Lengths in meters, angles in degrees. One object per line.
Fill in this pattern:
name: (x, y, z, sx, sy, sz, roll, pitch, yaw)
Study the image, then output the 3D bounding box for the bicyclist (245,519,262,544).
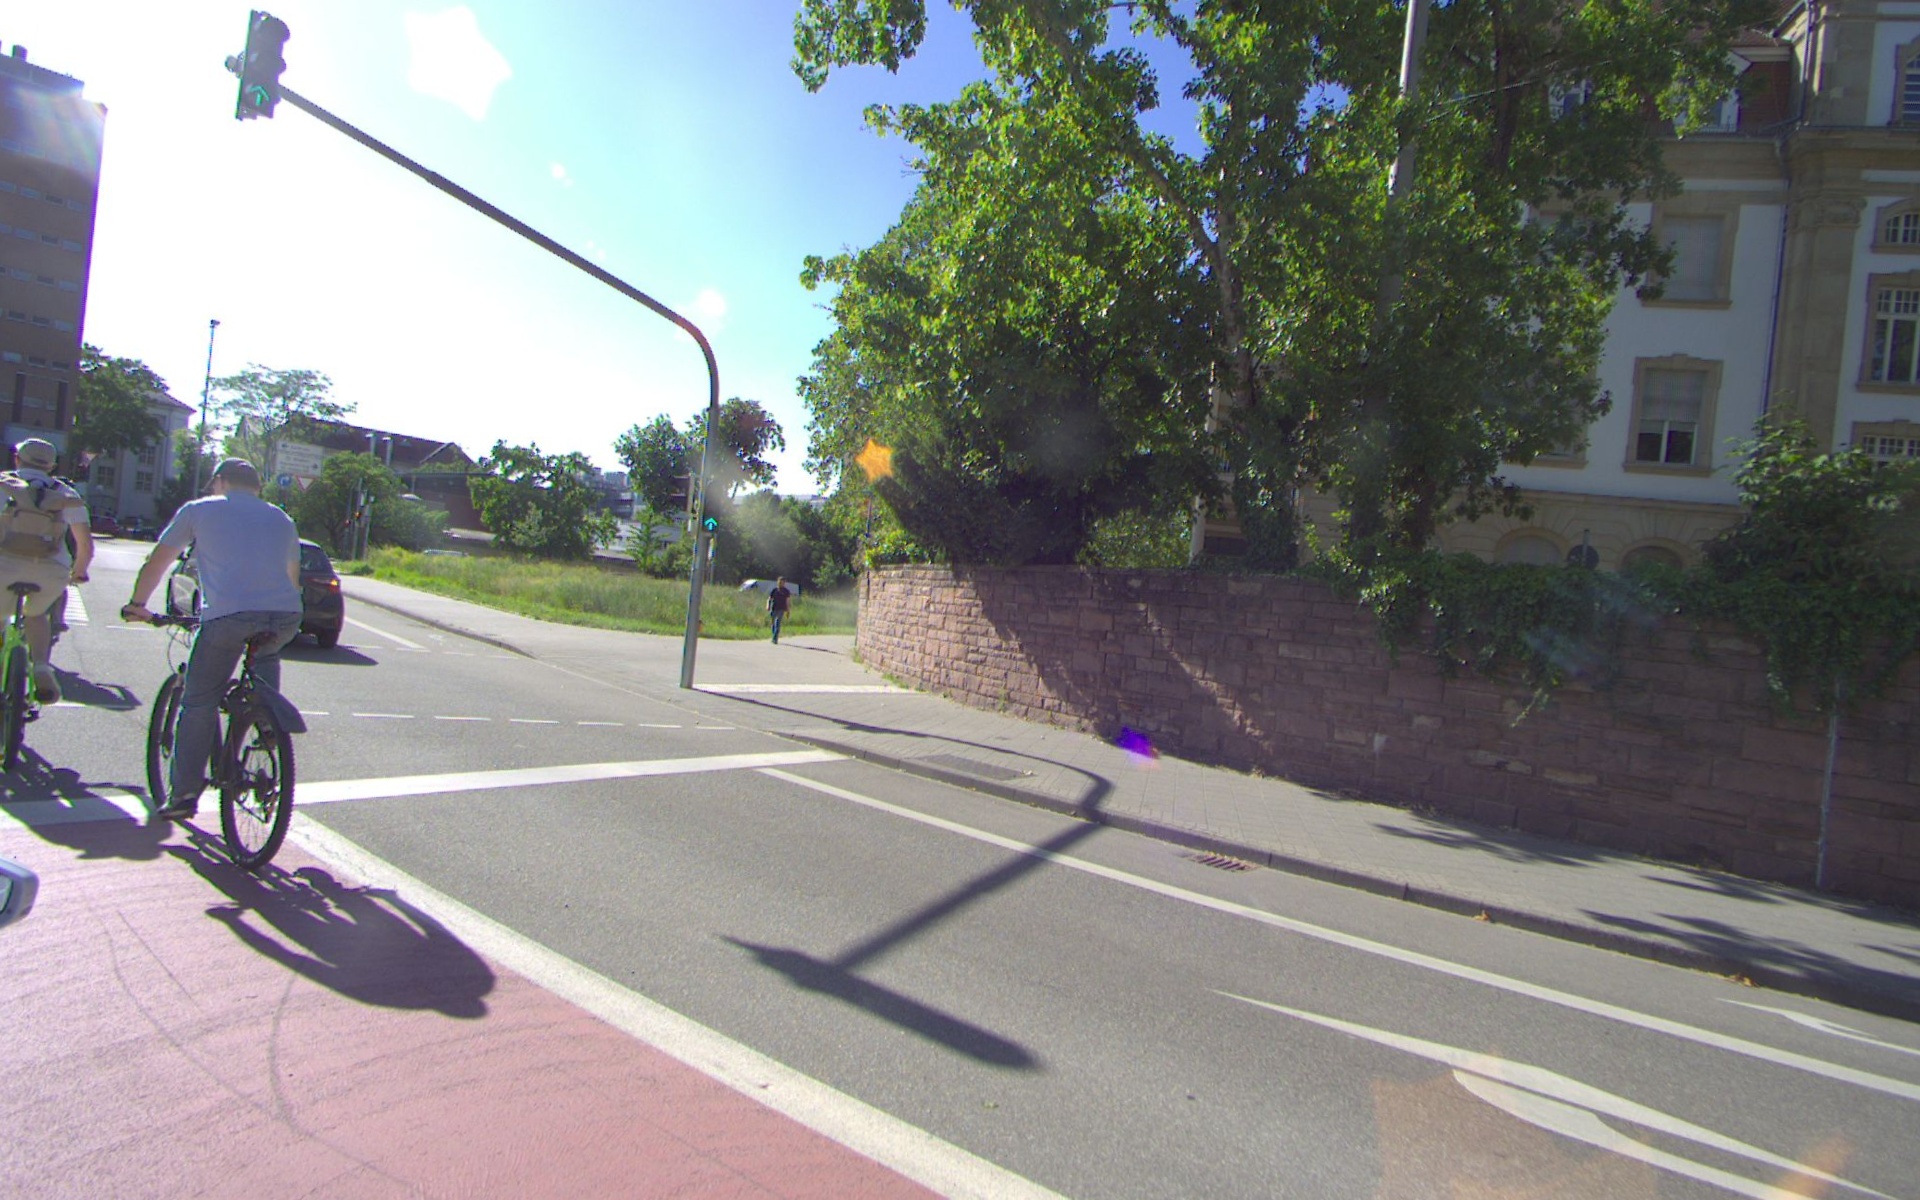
bicyclist: (-51.891, -5.032, 73.866, 0.854, 1.712, 0.875, 7, -2, -39)

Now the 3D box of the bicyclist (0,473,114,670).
bicyclist: (-8.380, -0.265, 9.155, 1.040, 1.645, 0.721, 6, -1, 40)

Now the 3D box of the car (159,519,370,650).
car: (-10.275, -0.263, 14.764, 3.611, 1.559, 1.753, 5, -2, 44)

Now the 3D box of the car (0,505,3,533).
car: (-57.353, -4.716, 56.616, 4.620, 2.037, 1.983, 7, -2, -33)

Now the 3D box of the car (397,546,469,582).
car: (-38.647, -2.628, 73.788, 4.319, 2.037, 1.984, 7, -2, -33)

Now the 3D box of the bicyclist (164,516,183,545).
bicyclist: (-55.895, -4.921, 71.482, 0.850, 1.868, 0.844, 6, -1, -34)

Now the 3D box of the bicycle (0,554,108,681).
bicycle: (-8.599, 0.125, 9.301, 1.857, 0.971, 0.722, 6, -2, 40)

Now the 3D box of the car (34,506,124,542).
car: (-54.838, -4.688, 62.718, 3.868, 1.604, 1.865, 7, -2, -32)

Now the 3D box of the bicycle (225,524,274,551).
bicycle: (-52.073, -4.579, 73.756, 2.789, 1.559, 0.875, 8, -2, -40)

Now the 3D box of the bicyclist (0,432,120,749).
bicyclist: (-5.654, -0.076, 6.037, 0.992, 1.768, 0.662, 8, 0, 43)

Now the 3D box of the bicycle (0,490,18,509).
bicycle: (-63.375, -6.709, 66.372, 1.659, 1.106, 0.603, 6, 0, -42)

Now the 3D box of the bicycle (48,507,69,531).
bicycle: (-65.255, -5.834, 72.811, 0.877, 1.559, 2.782, 7, -2, -39)

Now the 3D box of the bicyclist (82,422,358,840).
bicyclist: (-3.627, 0.134, 4.920, 1.000, 1.797, 0.748, 6, 0, 42)

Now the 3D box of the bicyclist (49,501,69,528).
bicyclist: (-65.215, -6.163, 72.815, 0.877, 1.818, 1.149, 7, -2, -39)

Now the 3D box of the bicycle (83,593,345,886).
bicycle: (-3.731, 0.599, 4.966, 1.805, 1.090, 0.610, 6, -1, 42)

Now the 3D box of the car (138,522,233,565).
car: (-48.161, -3.491, 62.679, 4.344, 2.037, 1.983, 7, -2, -33)

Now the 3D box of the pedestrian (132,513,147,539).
pedestrian: (-56.489, -5.076, 69.258, 0.555, 1.689, 0.473, 6, -1, -27)

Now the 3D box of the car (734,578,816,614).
car: (-16.888, -0.343, 92.026, 7.120, 2.453, 2.052, 7, 0, -39)

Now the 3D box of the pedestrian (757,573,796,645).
pedestrian: (-4.964, 0.238, 27.233, 0.746, 1.855, 1.049, 5, 1, -2)

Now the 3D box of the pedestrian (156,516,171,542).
pedestrian: (-54.412, -4.824, 68.739, 0.551, 1.689, 0.473, 6, -1, -27)

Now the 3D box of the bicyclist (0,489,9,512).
bicyclist: (-63.392, -6.575, 66.367, 0.813, 1.462, 0.613, 6, 0, -42)

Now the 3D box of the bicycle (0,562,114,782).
bicycle: (-5.682, 0.365, 6.016, 1.865, 1.060, 0.661, 7, -1, 44)
